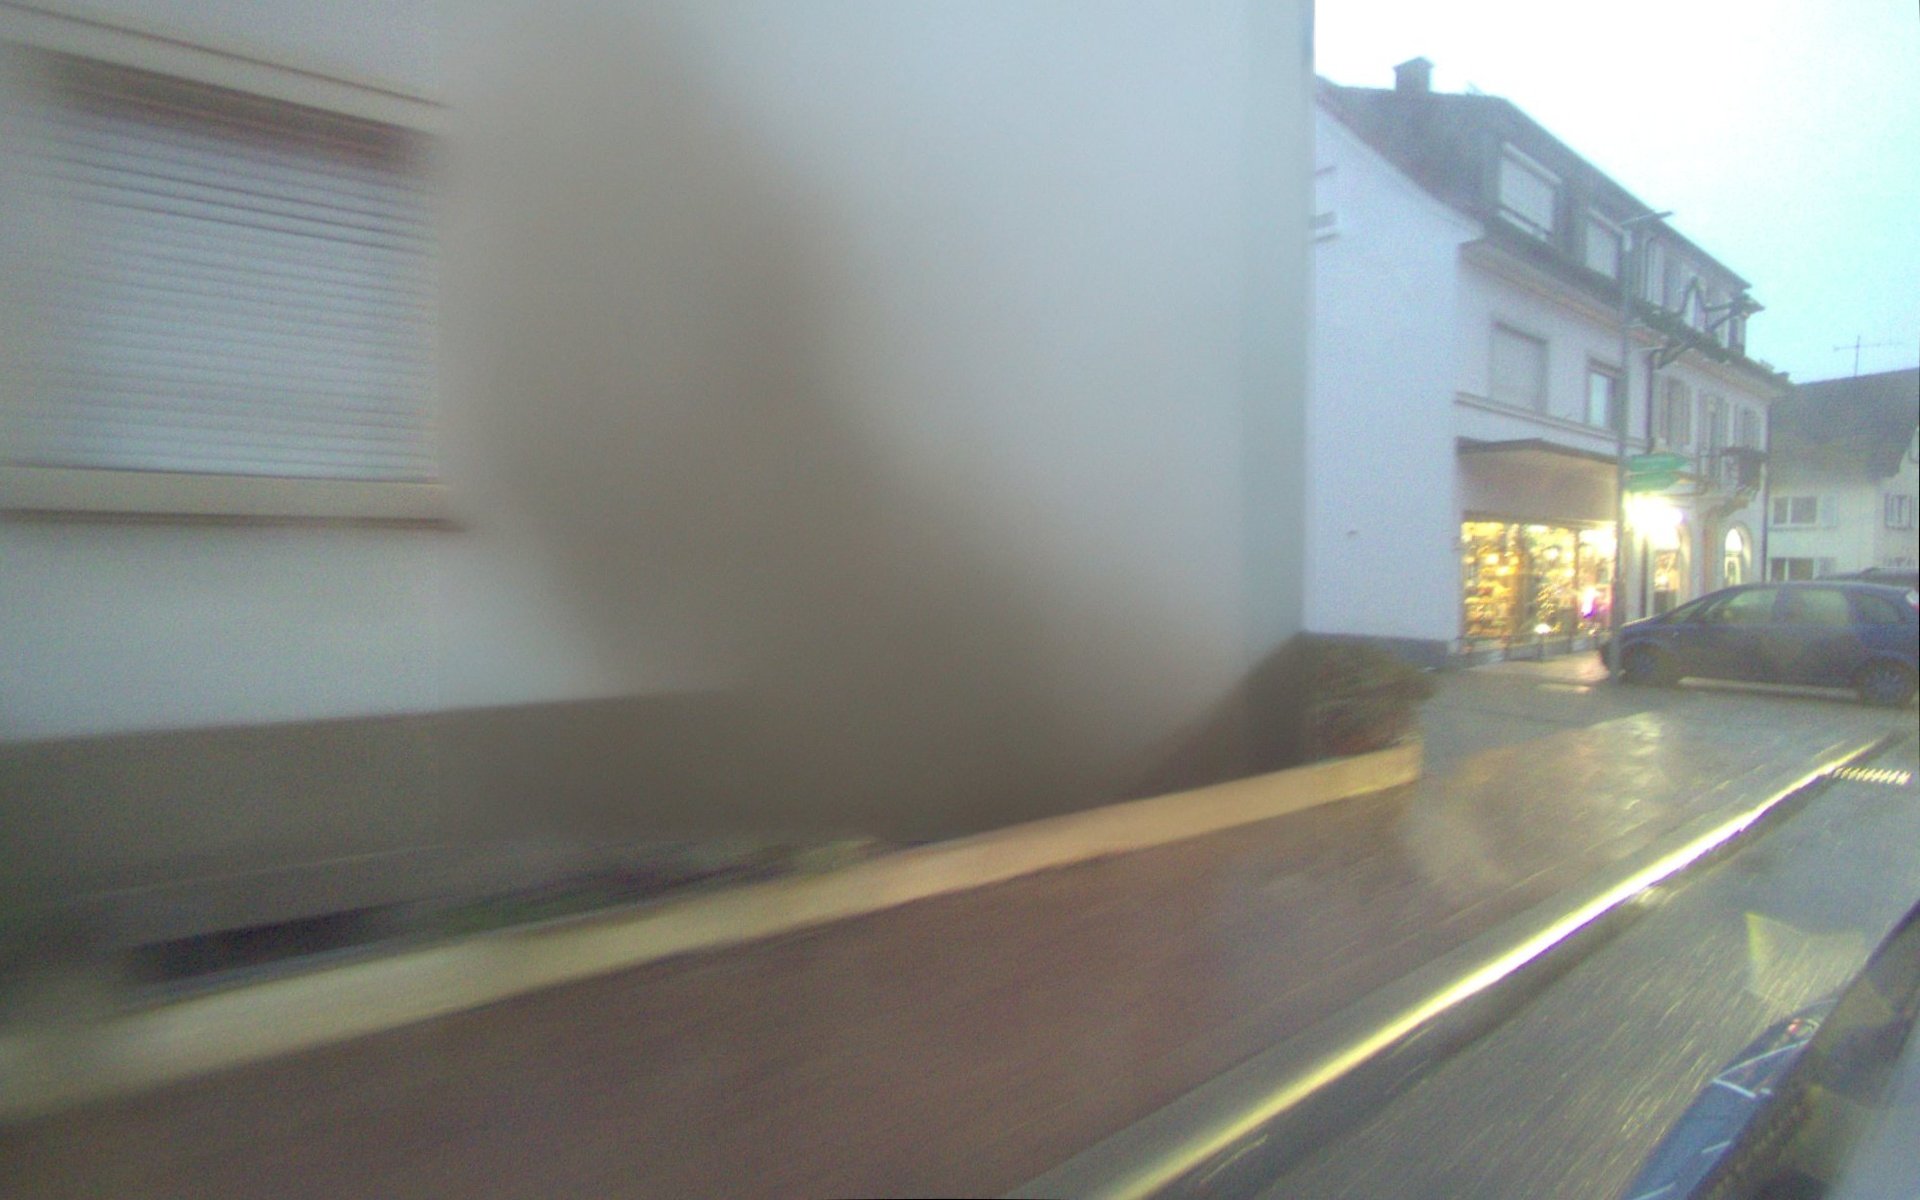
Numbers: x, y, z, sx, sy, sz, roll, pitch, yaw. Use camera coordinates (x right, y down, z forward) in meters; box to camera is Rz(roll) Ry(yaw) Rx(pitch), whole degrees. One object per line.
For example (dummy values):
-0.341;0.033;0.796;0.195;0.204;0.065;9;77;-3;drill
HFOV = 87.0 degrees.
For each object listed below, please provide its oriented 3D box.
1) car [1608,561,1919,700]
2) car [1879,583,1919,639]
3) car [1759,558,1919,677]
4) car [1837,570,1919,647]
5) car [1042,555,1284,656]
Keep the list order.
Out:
11.681;0.343;14.369;1.584;1.647;3.848;0;3;-43;car
25.276;0.348;24.780;1.523;1.383;3.889;0;3;-39;car
16.203;0.293;17.181;1.838;1.900;3.883;0;3;-44;car
23.169;0.237;23.551;1.683;1.753;3.889;0;2;-39;car
3.507;0.032;18.044;1.715;1.549;3.994;1;2;-41;car
